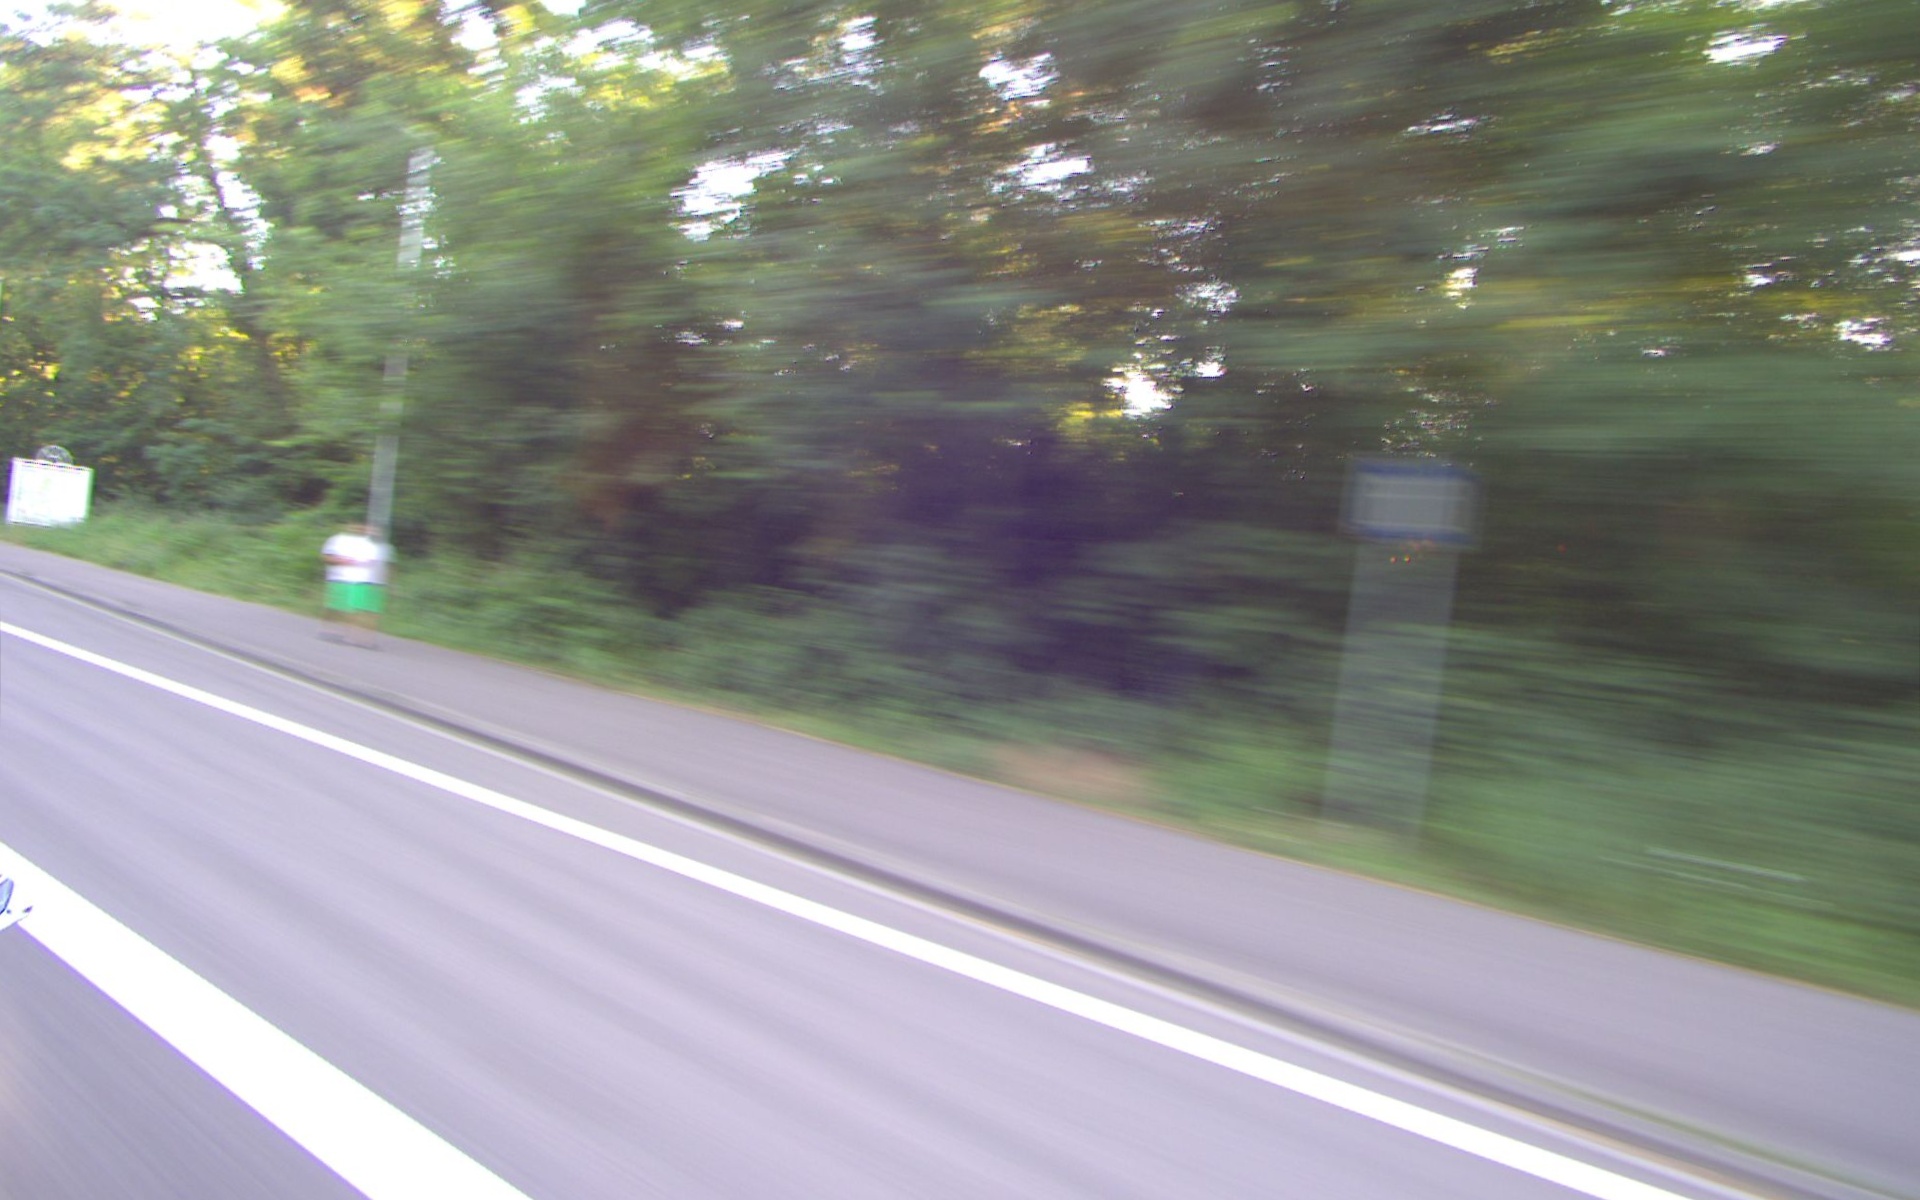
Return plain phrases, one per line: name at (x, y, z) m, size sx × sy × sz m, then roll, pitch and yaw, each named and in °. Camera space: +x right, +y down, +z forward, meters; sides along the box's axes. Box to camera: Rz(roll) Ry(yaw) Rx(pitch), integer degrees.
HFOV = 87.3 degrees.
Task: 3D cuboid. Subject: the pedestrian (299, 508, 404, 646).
pedestrian at (-8.416, -0.301, 13.926) m, size 0.714 × 1.773 × 0.839 m, roll 7°, pitch 0°, yaw 33°
